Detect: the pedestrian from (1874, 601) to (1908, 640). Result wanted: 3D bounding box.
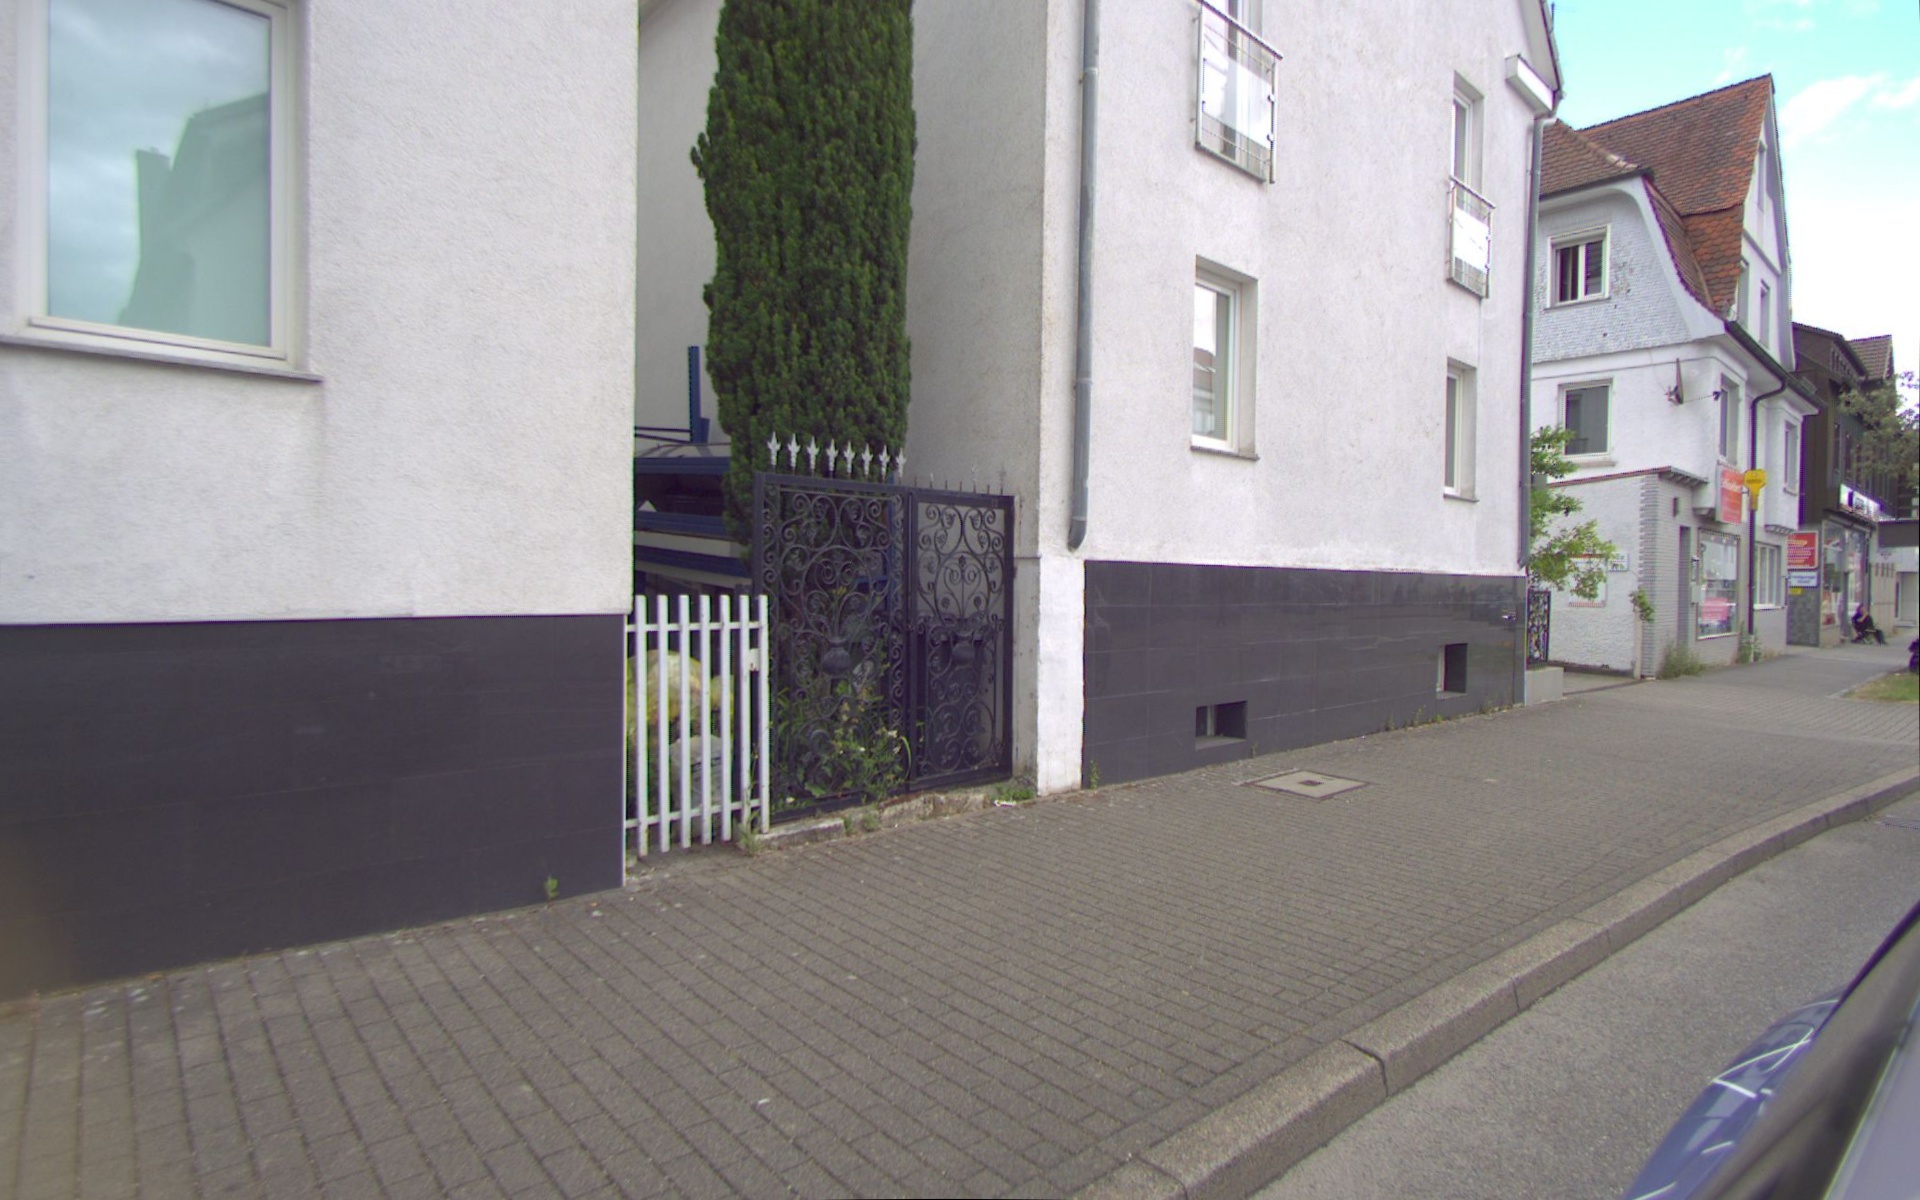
[{"bbox_3d":[30.604,0.673,33.259,0.633,1.226,0.741,0,2,-42],"label":"pedestrian"}]

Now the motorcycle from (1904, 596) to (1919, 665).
[{"bbox_3d":[19.602,0.624,19.664,0.763,1.399,2.236,0,0,11],"label":"motorcycle"}]
